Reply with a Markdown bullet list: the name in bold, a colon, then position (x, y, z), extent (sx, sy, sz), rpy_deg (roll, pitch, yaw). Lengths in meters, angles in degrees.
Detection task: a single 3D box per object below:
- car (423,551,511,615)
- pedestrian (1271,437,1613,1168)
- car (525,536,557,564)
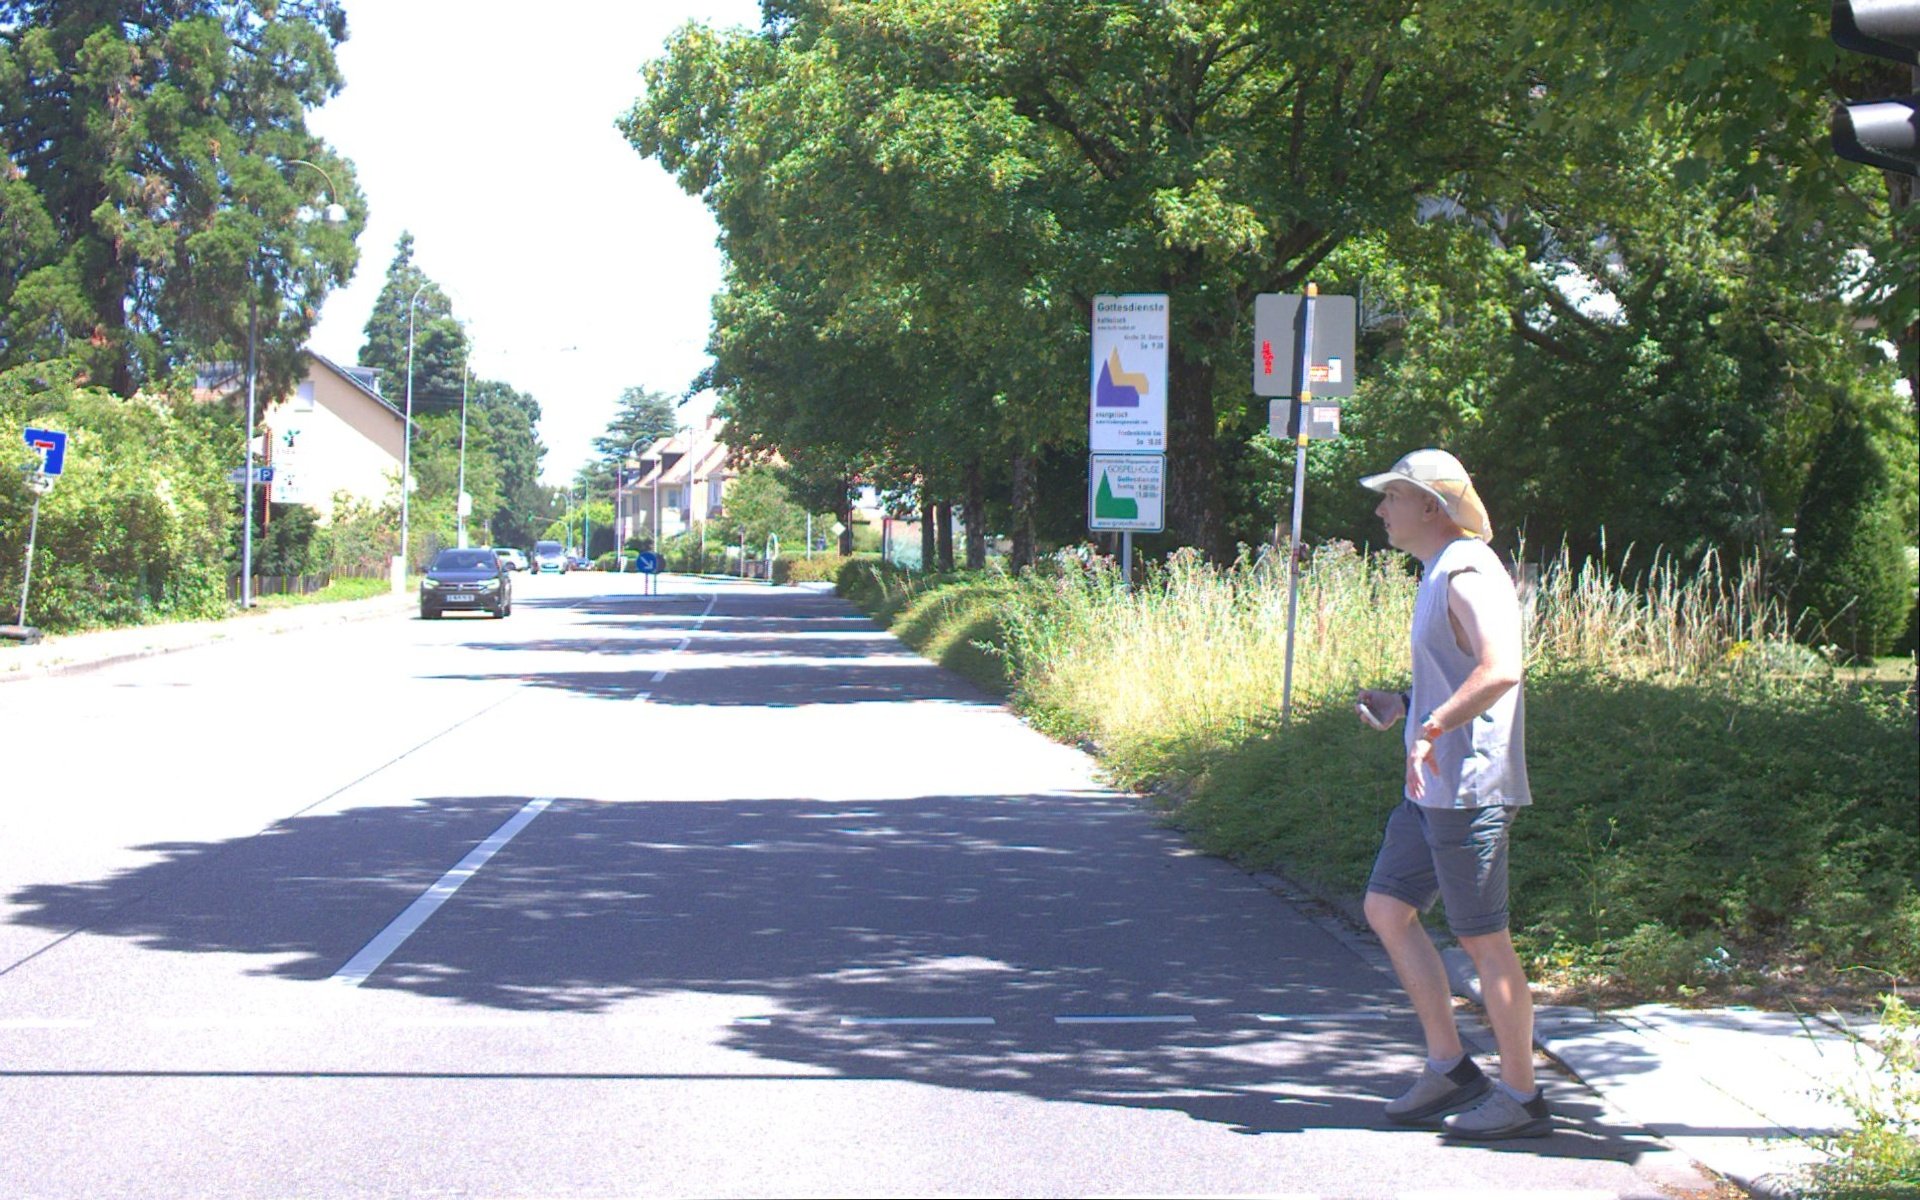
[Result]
- **car**: position (-10.539, -0.365, 73.664), extent (1.431, 1.318, 3.355), rpy_deg (1, 0, -1)
- **pedestrian**: position (1.209, 0.479, 8.621), extent (0.615, 1.745, 0.561), rpy_deg (1, 0, 43)
- **car**: position (-22.593, -2.679, 185.568), extent (1.555, 1.443, 3.790), rpy_deg (1, 0, -5)
